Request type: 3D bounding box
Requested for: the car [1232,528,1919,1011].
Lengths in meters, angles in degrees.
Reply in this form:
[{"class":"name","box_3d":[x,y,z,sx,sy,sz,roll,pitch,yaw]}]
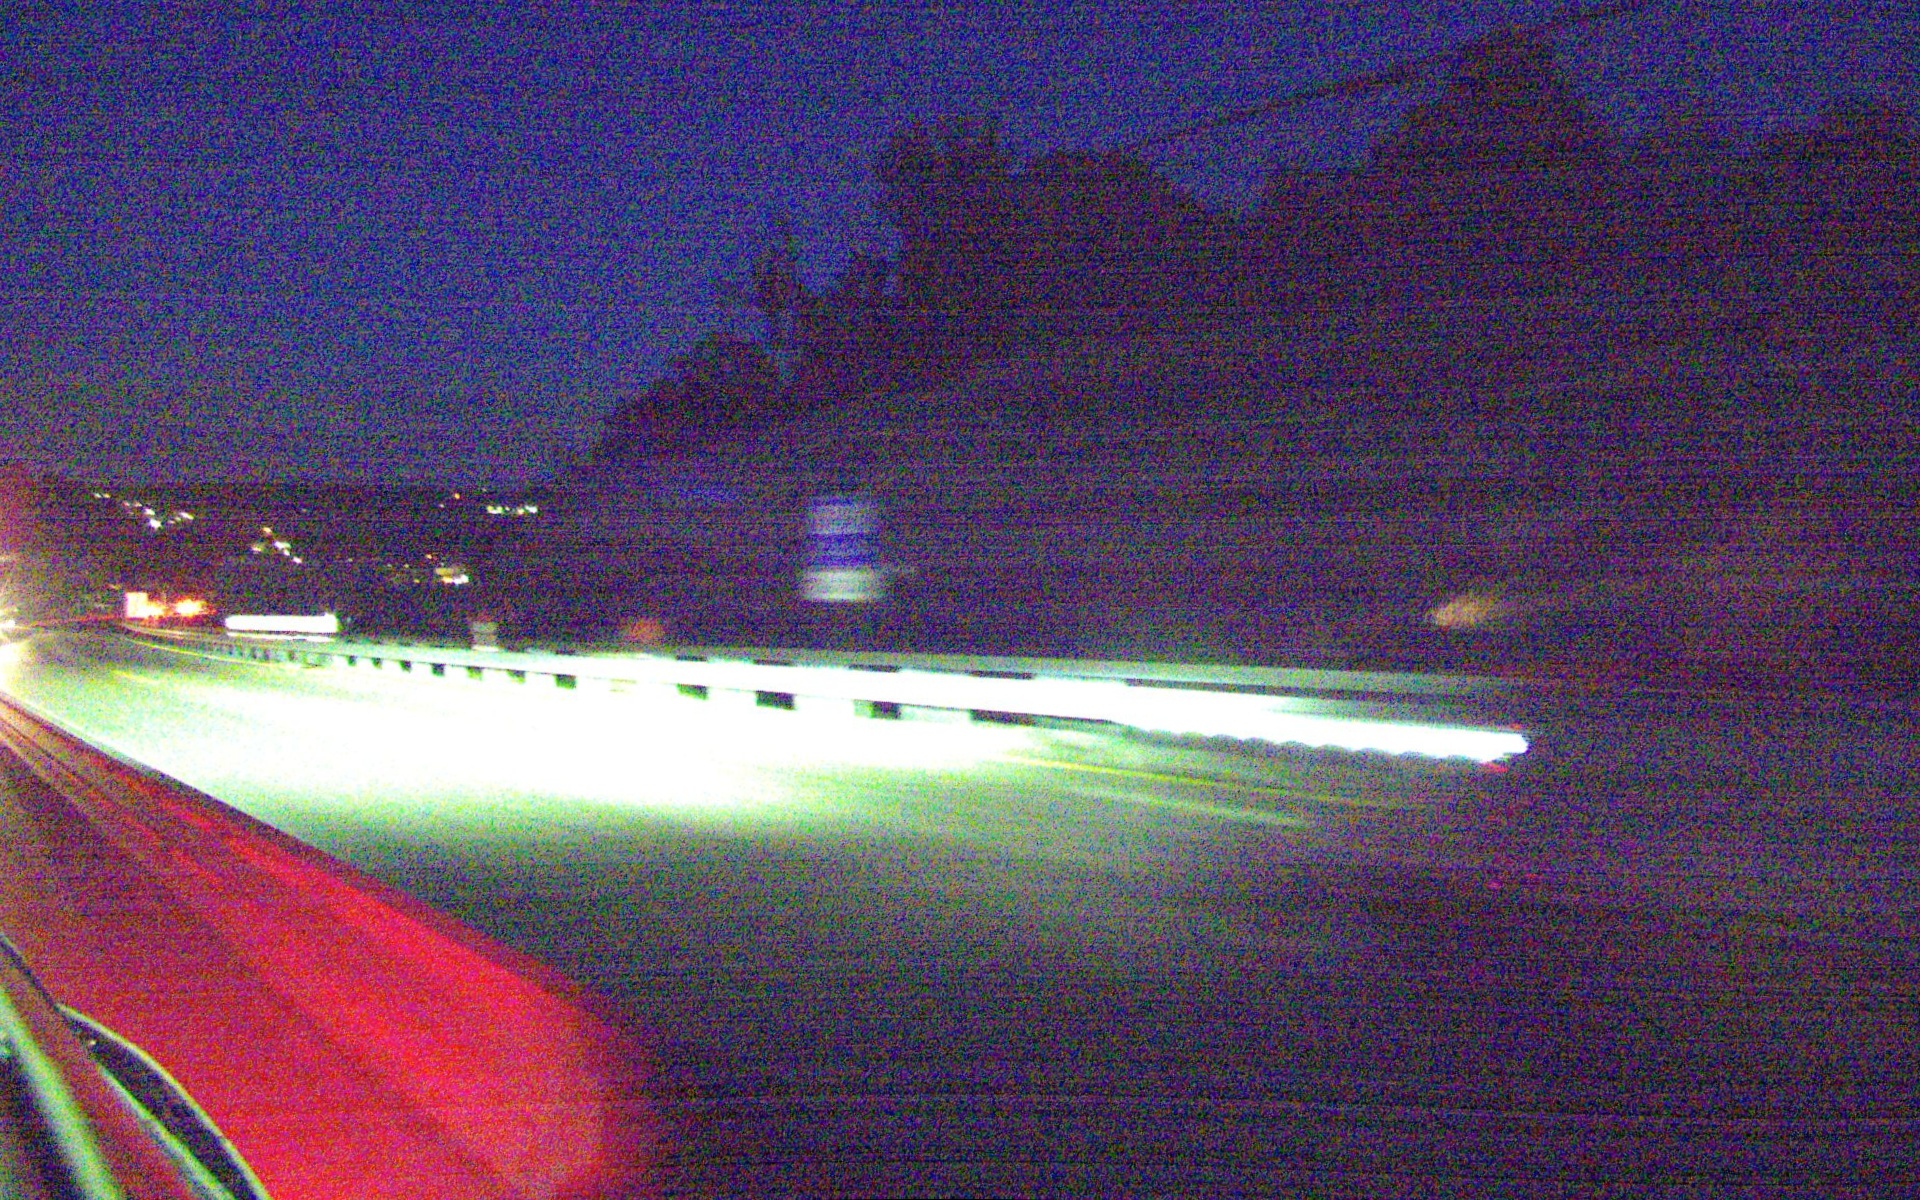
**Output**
[{"class":"car","box_3d":[3.856,0.585,4.283,4.861,1.652,1.992,-1,-1,42]}]
